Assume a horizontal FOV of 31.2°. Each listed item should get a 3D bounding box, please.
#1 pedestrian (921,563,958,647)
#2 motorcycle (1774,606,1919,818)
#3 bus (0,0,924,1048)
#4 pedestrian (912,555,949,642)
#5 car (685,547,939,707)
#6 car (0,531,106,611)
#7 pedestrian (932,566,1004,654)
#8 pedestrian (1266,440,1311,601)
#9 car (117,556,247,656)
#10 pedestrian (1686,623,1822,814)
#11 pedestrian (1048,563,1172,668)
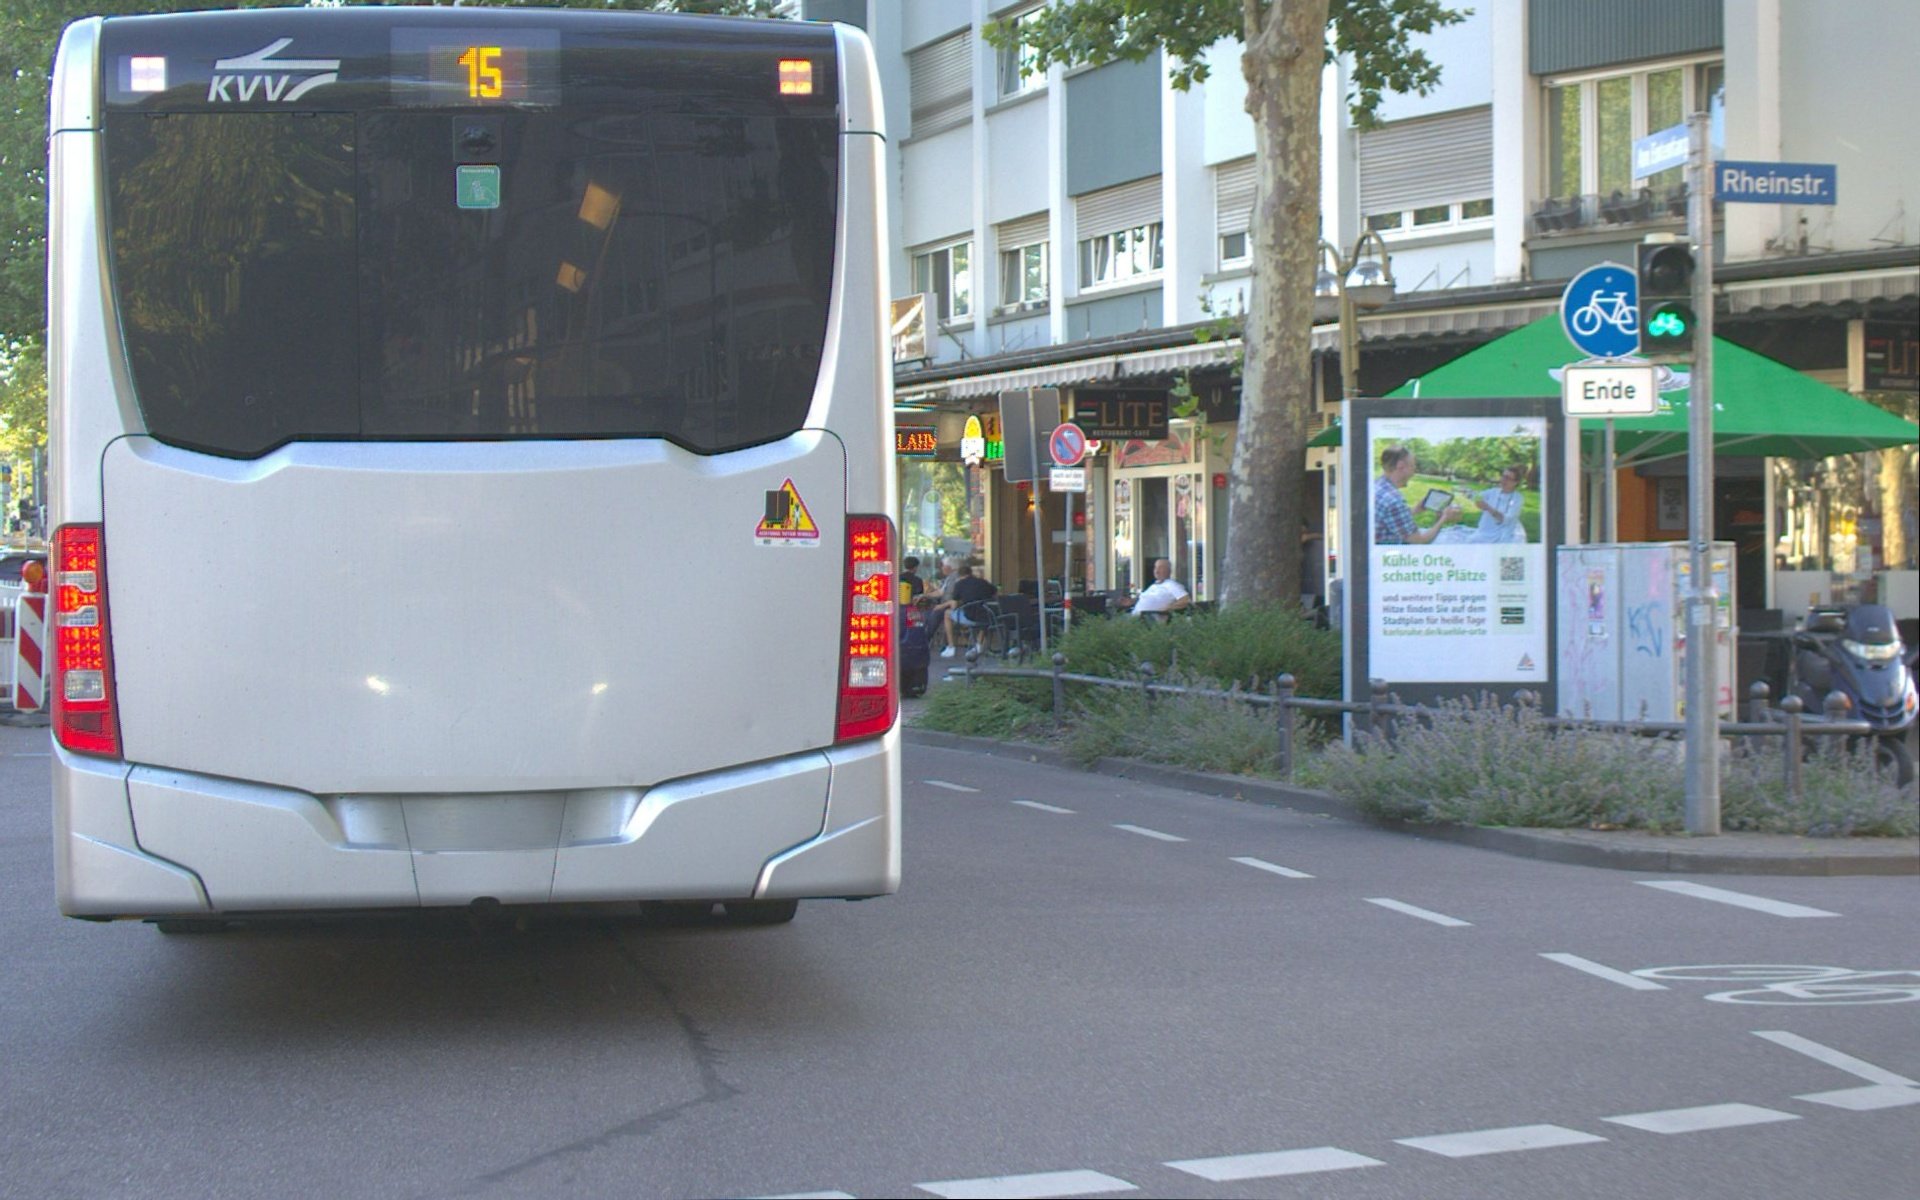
[{"bbox_3d":[-0.279,0.062,46.212,0.387,1.118,0.393,0,1,-20],"label":"pedestrian"},{"bbox_3d":[5.132,0.625,19.922,0.570,1.154,1.460,2,1,5],"label":"motorcycle"},{"bbox_3d":[-2.215,-0.340,14.921,2.657,3.088,10.218,0,1,-9],"label":"bus"},{"bbox_3d":[-0.399,-0.023,46.656,0.391,1.170,0.389,0,1,-21],"label":"pedestrian"},{"bbox_3d":[-1.626,0.242,36.755,1.662,1.511,3.414,-4,3,-20],"label":"car"},{"bbox_3d":[-17.179,-0.561,64.543,1.755,1.459,4.001,0,1,-21],"label":"car"},{"bbox_3d":[0.106,0.128,43.978,0.705,1.105,0.766,0,1,-19],"label":"pedestrian"},{"bbox_3d":[3.539,-0.853,37.029,0.357,1.712,0.309,1,1,-12],"label":"pedestrian"},{"bbox_3d":[-12.063,0.061,53.134,1.755,1.459,4.001,0,1,-16],"label":"car"},{"bbox_3d":[5.340,0.792,23.142,0.550,1.239,0.733,1,1,-18],"label":"pedestrian"},{"bbox_3d":[1.738,0.173,39.874,1.177,1.193,0.926,0,1,-19],"label":"pedestrian"}]
